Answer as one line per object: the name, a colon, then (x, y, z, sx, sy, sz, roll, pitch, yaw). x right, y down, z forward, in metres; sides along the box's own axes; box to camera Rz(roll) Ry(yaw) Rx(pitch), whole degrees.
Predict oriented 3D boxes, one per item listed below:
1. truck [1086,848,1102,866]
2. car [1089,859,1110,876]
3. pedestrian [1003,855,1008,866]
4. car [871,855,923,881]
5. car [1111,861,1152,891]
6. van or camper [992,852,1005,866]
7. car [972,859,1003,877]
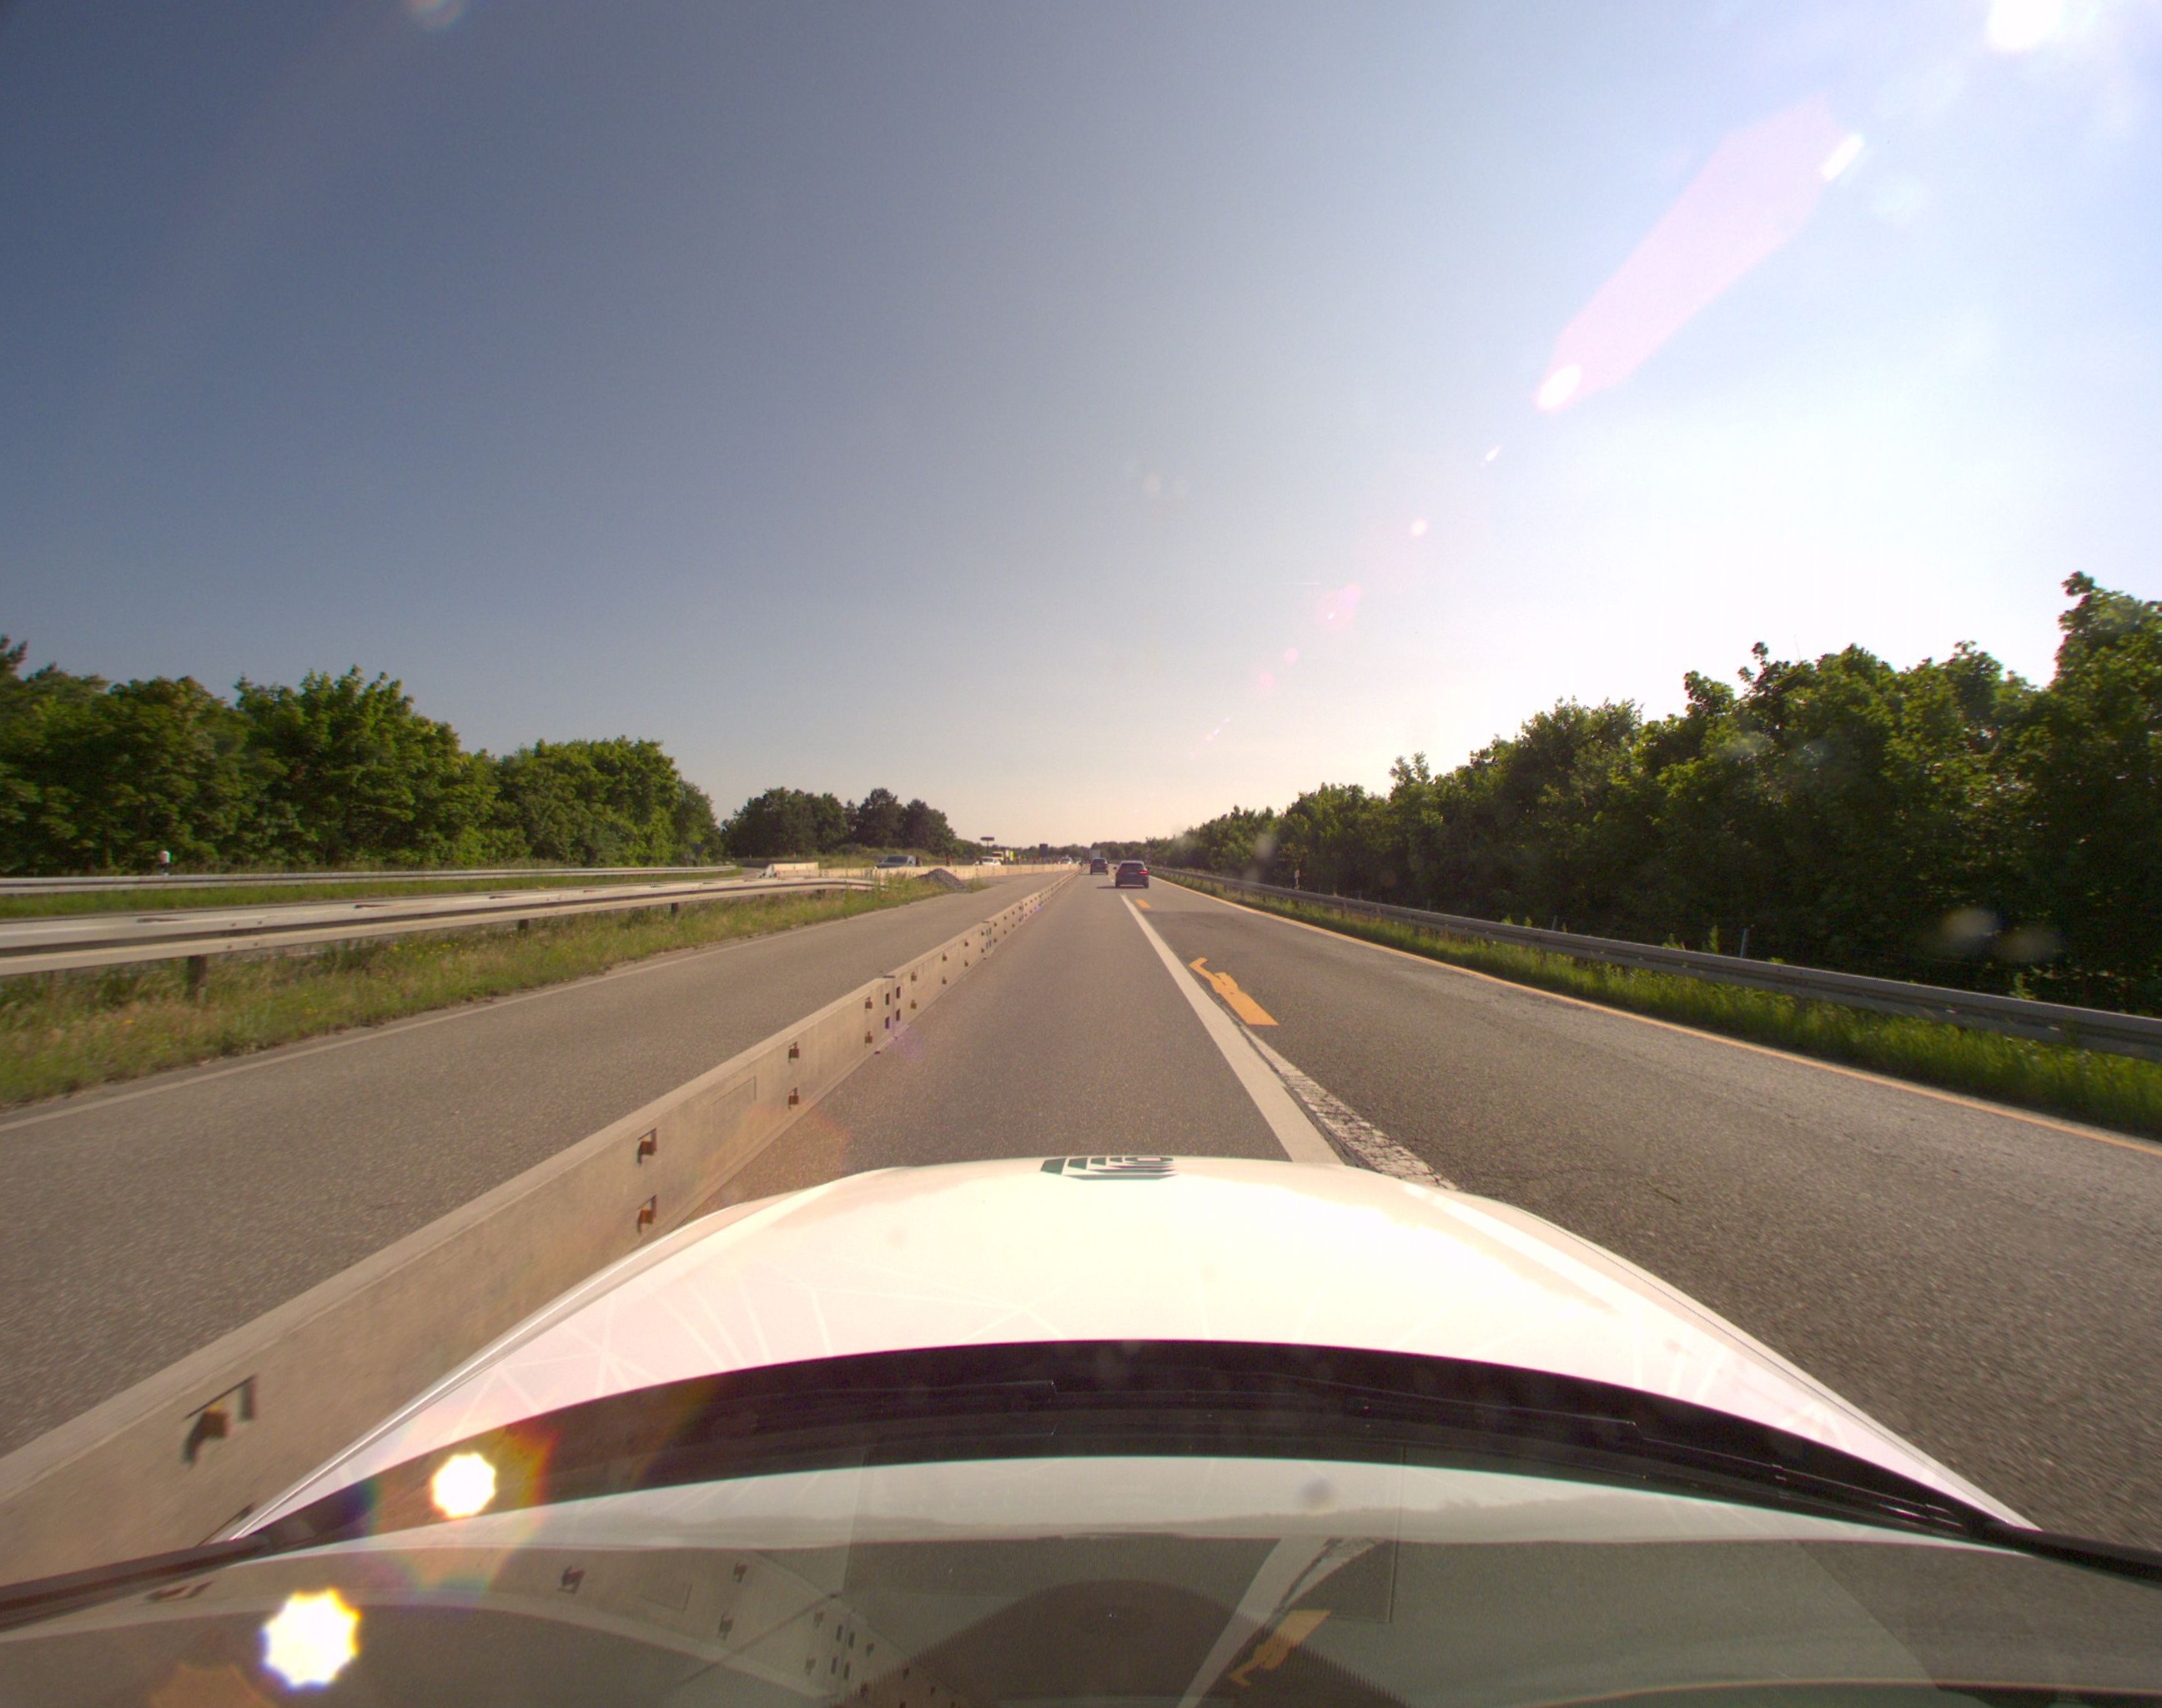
truck: (3.737, 0.812, 230.736, 3.751, 4.911, 14.125, 2, 0, -2)
car: (1.816, 1.263, 79.099, 1.986, 1.567, 4.001, 1, 0, 2)
pedestrian: (-13.102, 1.135, 141.637, 0.741, 1.820, 0.794, 2, -1, -10)
car: (-10.863, 0.822, 48.496, 1.832, 1.440, 4.815, 0, -1, 2)
car: (2.683, 1.153, 44.199, 1.914, 1.494, 3.999, 2, 0, 0)
van or camper: (-14.648, 0.823, 144.618, 1.990, 2.378, 6.191, 2, 0, -5)
car: (-8.534, 1.235, 74.383, 1.808, 1.608, 4.447, 1, -1, 7)
